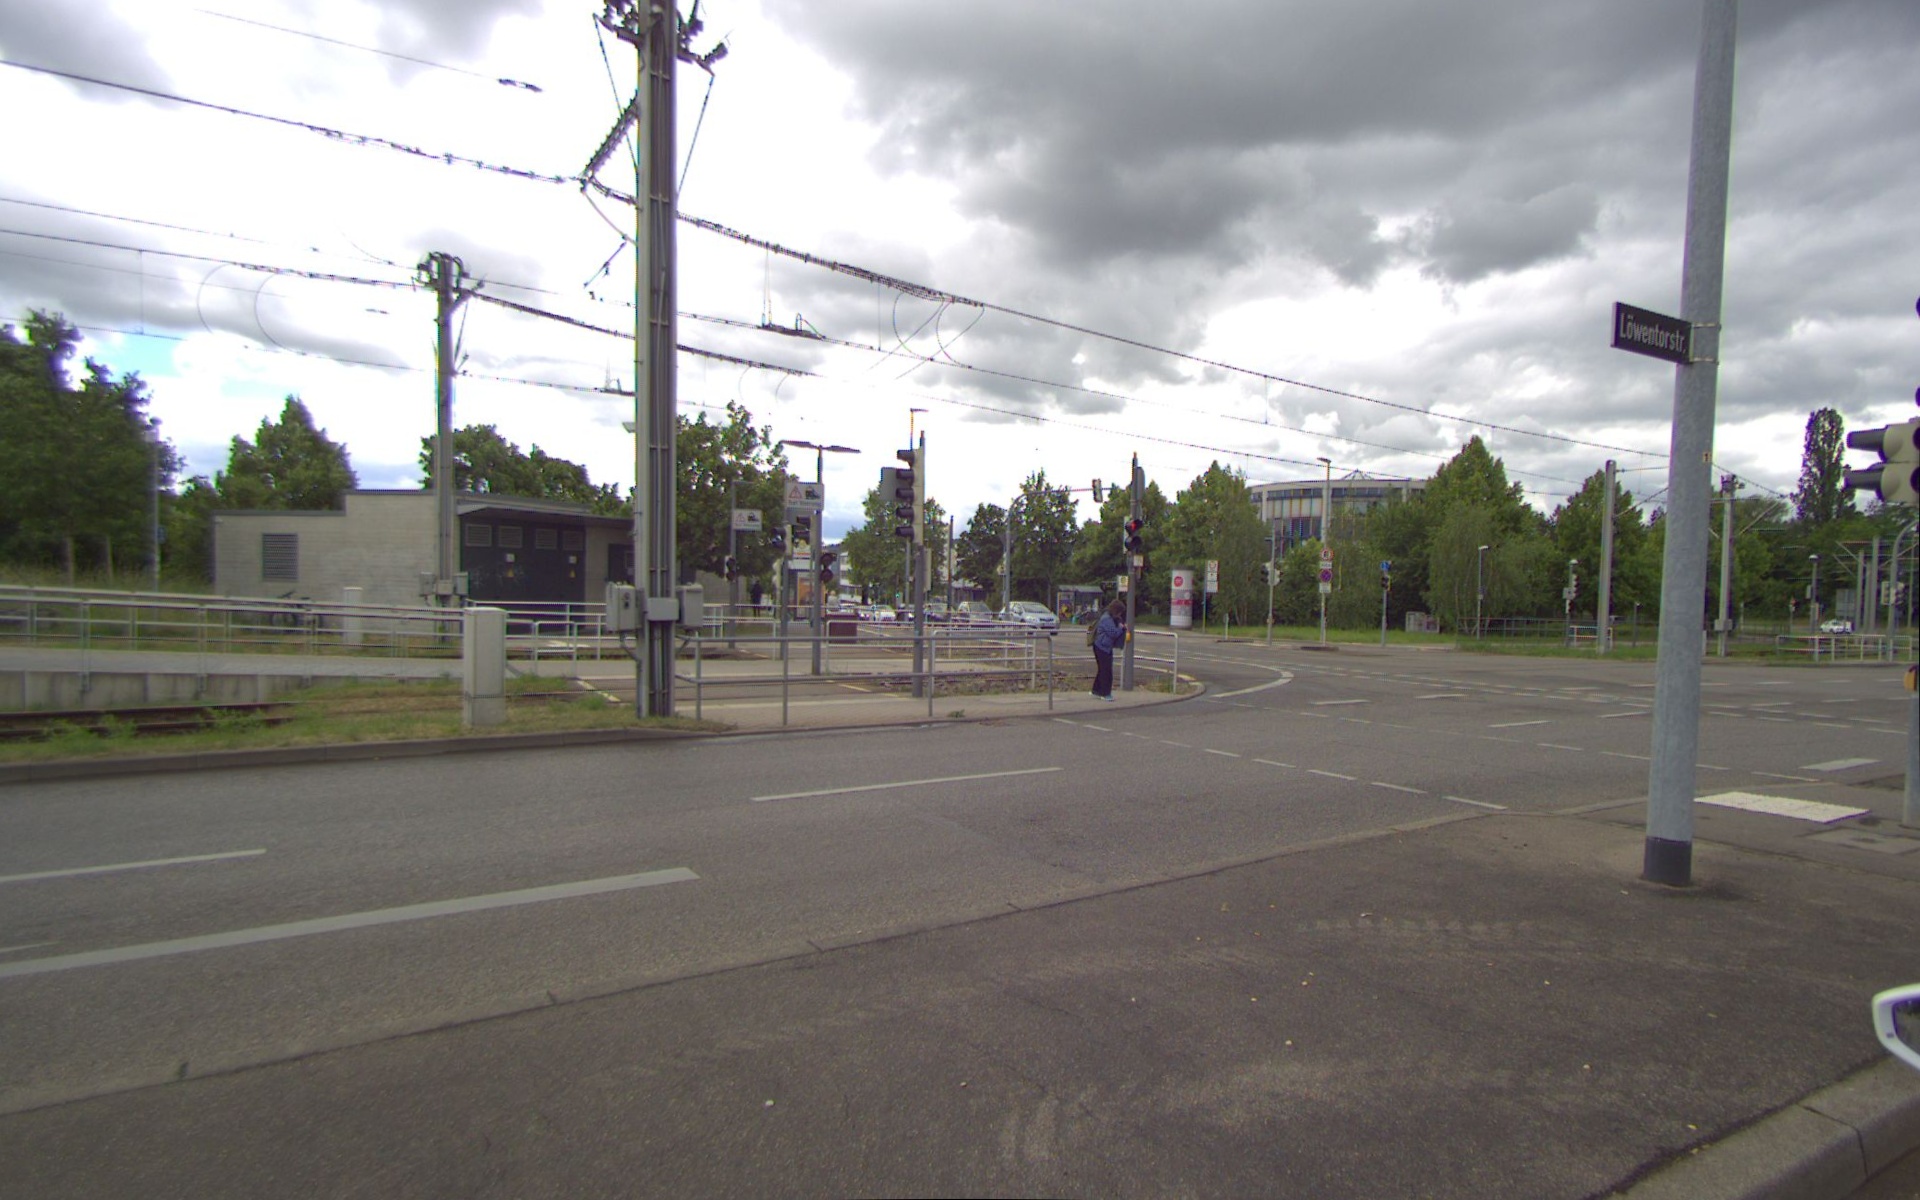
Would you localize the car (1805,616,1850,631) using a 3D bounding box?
[{"bbox_3d":[99.112,2.651,114.824,1.797,1.650,4.428,1,-1,10],"label":"car"}]

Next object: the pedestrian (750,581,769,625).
[{"bbox_3d":[-9.171,0.143,45.962,0.738,1.993,0.795,1,0,-9],"label":"pedestrian"}]

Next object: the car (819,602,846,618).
[{"bbox_3d":[-11.939,0.960,94.069,1.706,1.456,3.731,1,0,-20],"label":"car"}]

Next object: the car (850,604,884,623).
[{"bbox_3d":[-7.425,1.022,79.681,1.706,1.456,3.991,1,0,-20],"label":"car"}]

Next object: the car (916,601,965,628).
[{"bbox_3d":[-1.157,0.816,58.162,1.706,1.456,3.731,1,0,-20],"label":"car"}]

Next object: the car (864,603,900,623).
[{"bbox_3d":[-5.820,0.962,74.779,1.706,1.456,3.731,1,0,-20],"label":"car"}]

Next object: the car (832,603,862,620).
[{"bbox_3d":[-9.776,0.985,86.713,1.706,1.456,3.731,1,0,-20],"label":"car"}]

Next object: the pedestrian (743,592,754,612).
[{"bbox_3d":[-17.599,0.142,83.528,0.771,1.649,0.660,1,0,-22],"label":"pedestrian"}]

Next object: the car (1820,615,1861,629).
[{"bbox_3d":[115.749,2.882,132.080,1.960,1.773,4.001,1,0,3],"label":"car"}]

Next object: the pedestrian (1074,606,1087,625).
[{"bbox_3d":[8.586,1.112,71.545,0.652,1.322,0.780,1,0,-16],"label":"pedestrian"}]

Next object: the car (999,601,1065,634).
[{"bbox_3d":[3.295,0.800,46.807,1.706,1.456,3.731,1,0,-20],"label":"car"}]

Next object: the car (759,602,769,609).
[{"bbox_3d":[-43.412,1.271,222.678,1.706,1.456,3.731,1,0,-20],"label":"car"}]

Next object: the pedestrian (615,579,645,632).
[{"bbox_3d":[-10.235,0.177,31.174,0.699,1.628,0.651,1,0,-37],"label":"pedestrian"}]

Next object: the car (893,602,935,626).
[{"bbox_3d":[-3.011,0.888,64.928,1.706,1.456,3.731,1,0,-20],"label":"car"}]

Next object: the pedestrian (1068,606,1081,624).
[{"bbox_3d":[8.280,1.079,72.861,0.652,1.321,0.780,1,0,-16],"label":"pedestrian"}]

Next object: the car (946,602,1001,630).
[{"bbox_3d":[0.683,0.843,53.666,1.706,1.456,3.731,1,0,-20],"label":"car"}]

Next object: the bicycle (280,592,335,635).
[{"bbox_3d":[-17.333,0.345,26.674,1.452,1.101,0.492,1,0,22],"label":"bicycle"}]

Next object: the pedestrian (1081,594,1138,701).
[{"bbox_3d":[2.281,0.706,15.308,0.701,1.584,0.533,1,1,-44],"label":"pedestrian"}]
